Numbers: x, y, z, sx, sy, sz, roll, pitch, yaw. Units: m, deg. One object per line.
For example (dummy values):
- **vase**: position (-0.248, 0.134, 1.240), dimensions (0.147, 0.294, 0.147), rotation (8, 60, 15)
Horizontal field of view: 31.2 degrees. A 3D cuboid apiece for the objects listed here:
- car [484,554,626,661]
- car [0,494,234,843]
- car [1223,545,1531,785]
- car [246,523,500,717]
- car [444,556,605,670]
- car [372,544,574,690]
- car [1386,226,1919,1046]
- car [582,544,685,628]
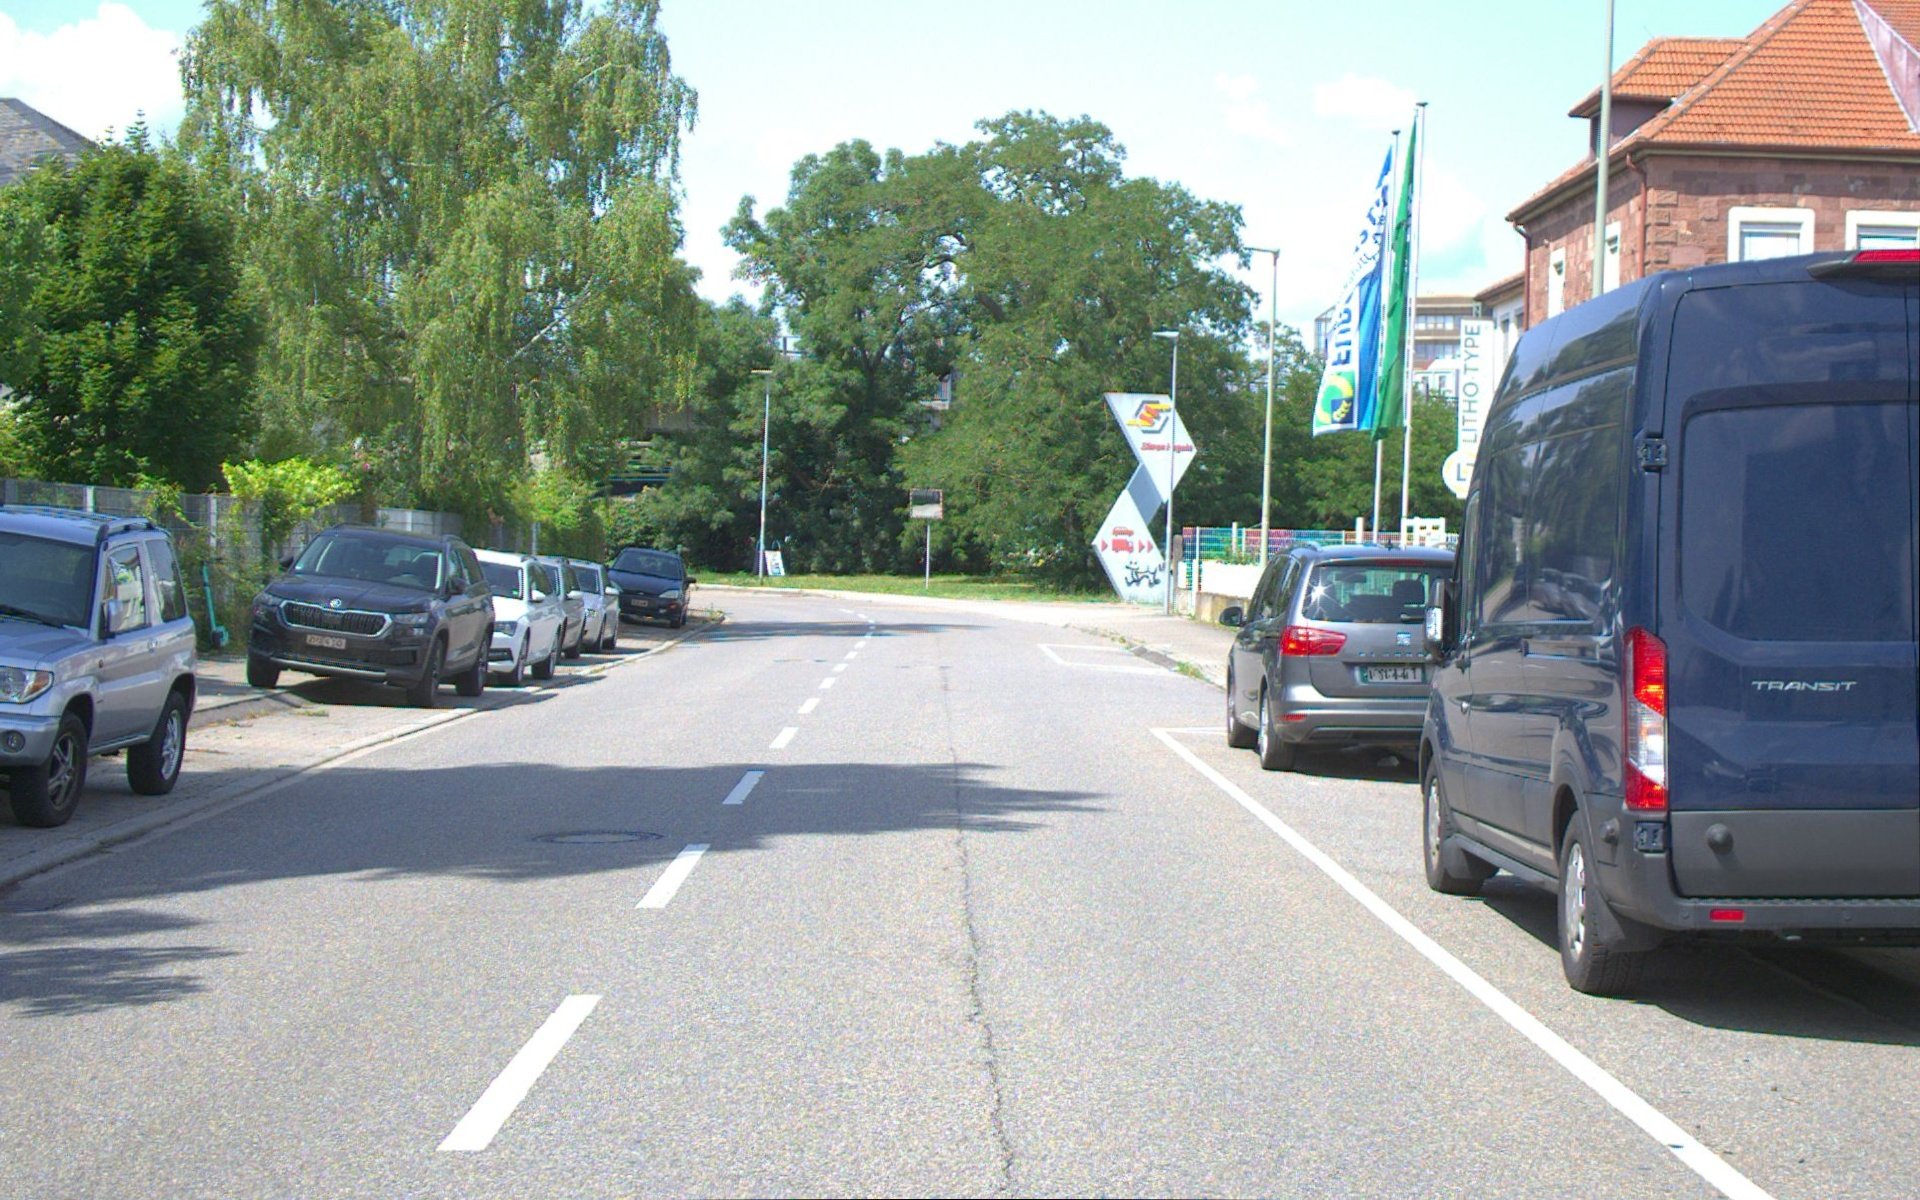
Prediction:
- **car**: position (-6.516, 0.090, 55.726), dimensions (1.724, 1.472, 4.632), rotation (5, 1, -1)
- **car**: position (-5.692, 0.306, 20.476), dimensions (1.700, 1.795, 3.826), rotation (5, 1, 2)
- **car**: position (3.147, 0.428, 26.795), dimensions (1.825, 1.659, 4.556), rotation (1, 1, 0)
- **car**: position (-5.855, 0.136, 34.779), dimensions (1.610, 1.739, 4.636), rotation (3, 1, 1)
- **car**: position (-6.326, 0.151, 50.394), dimensions (1.794, 1.522, 4.659), rotation (1, 1, 0)
- **car**: position (-5.766, 0.154, 41.223), dimensions (1.700, 1.589, 4.787), rotation (1, 1, 0)
- **car**: position (3.213, 0.085, 14.602), dimensions (1.937, 2.739, 6.155), rotation (1, 1, -1)
- **car**: position (-6.604, -0.290, 69.856), dimensions (1.682, 1.507, 4.158), rotation (5, 0, -2)
